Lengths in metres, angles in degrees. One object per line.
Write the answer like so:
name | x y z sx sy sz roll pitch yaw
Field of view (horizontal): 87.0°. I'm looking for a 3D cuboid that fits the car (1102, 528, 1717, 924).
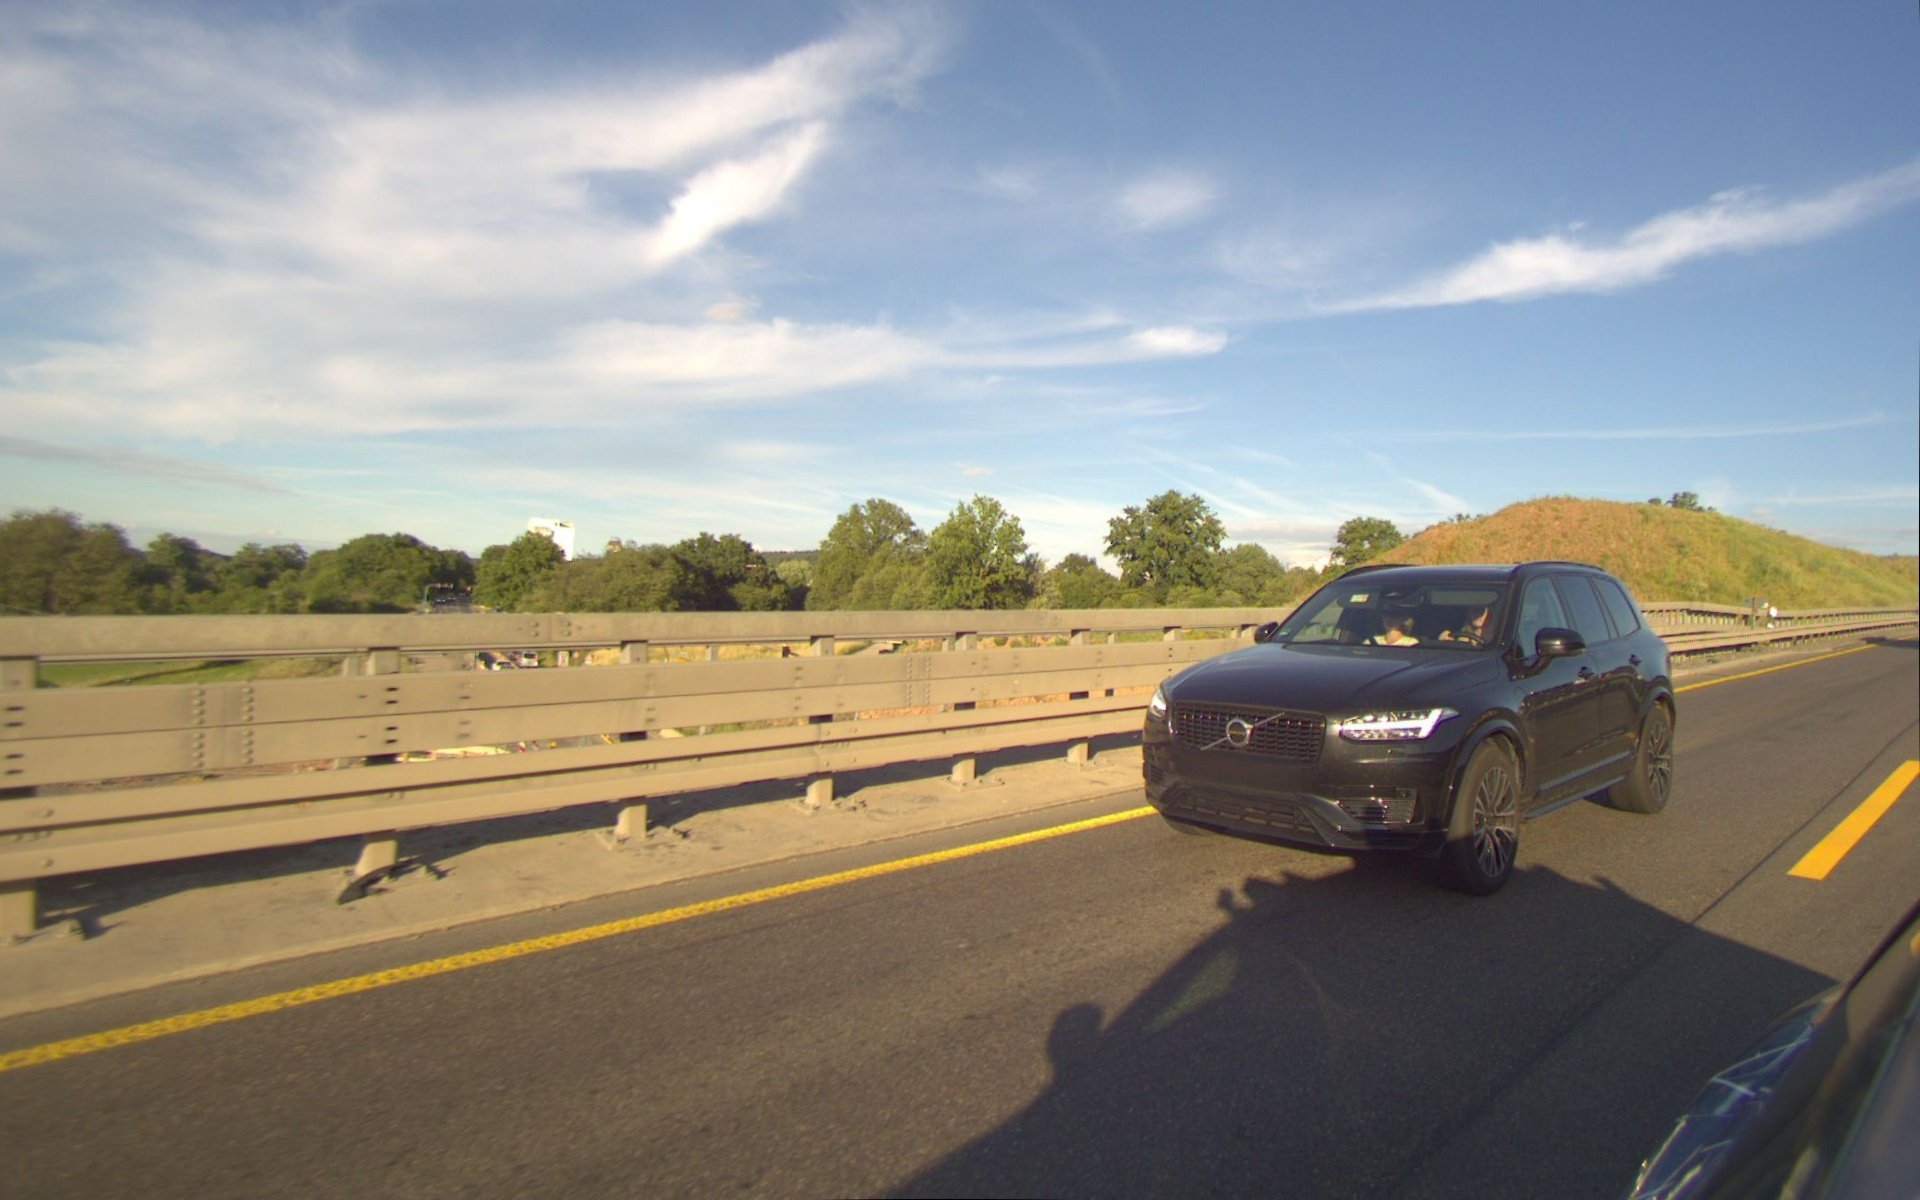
car | 3.255 0.534 6.743 4.802 1.735 1.901 0 0 -41
